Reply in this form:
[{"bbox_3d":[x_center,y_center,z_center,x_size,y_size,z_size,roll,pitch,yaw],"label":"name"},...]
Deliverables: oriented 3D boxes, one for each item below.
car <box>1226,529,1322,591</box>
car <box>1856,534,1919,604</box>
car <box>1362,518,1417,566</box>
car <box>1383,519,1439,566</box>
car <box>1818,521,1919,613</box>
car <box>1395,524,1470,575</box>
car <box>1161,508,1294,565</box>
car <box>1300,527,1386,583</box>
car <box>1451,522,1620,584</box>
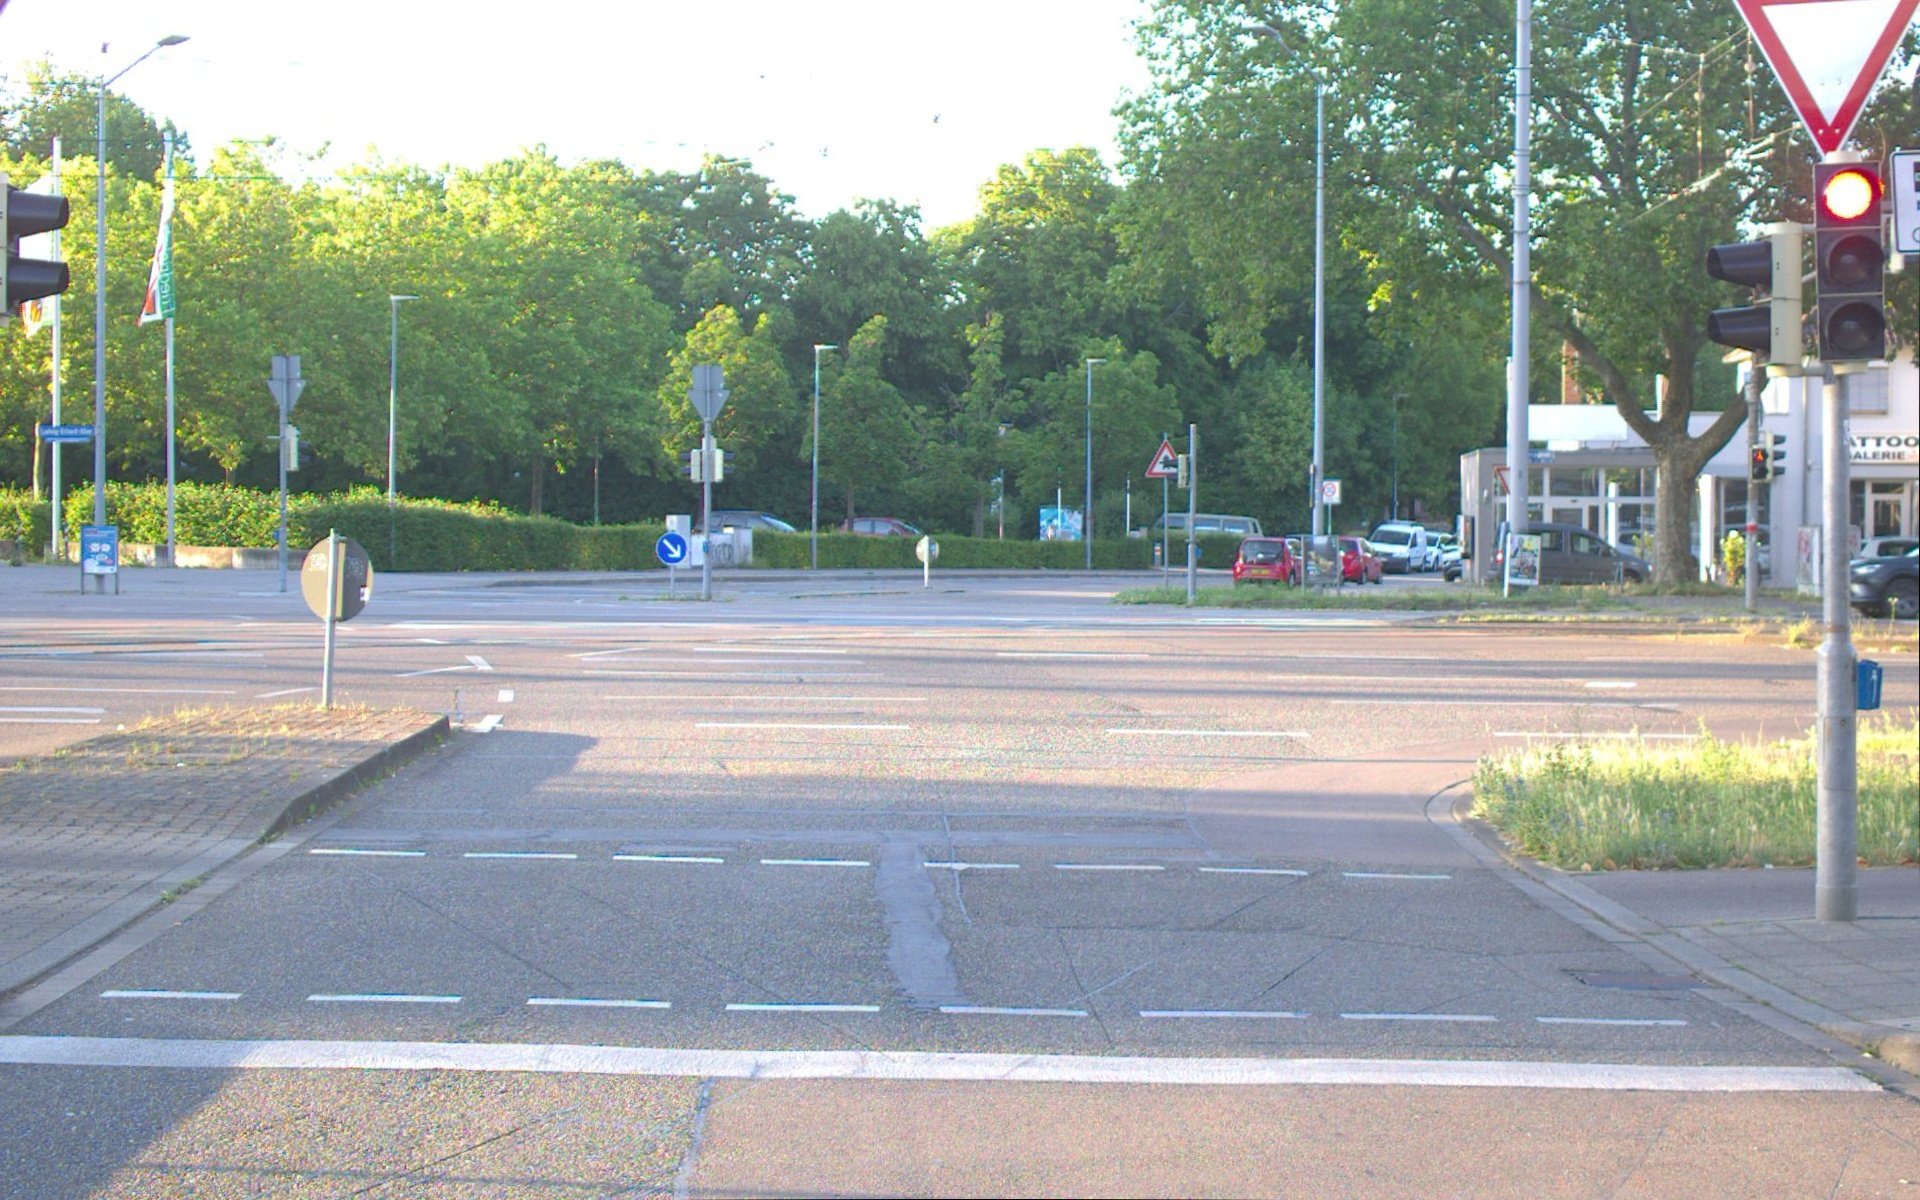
[{"bbox_3d":[8.765,-1.099,95.681,1.995,1.656,3.997,1,0,15],"label":"car"},{"bbox_3d":[20.814,-0.638,72.117,3.741,1.435,1.663,1,0,9],"label":"car"},{"bbox_3d":[16.414,-2.190,131.184,1.864,1.788,3.998,1,0,10],"label":"car"},{"bbox_3d":[17.869,-2.253,136.078,1.864,1.788,3.998,1,0,12],"label":"car"},{"bbox_3d":[16.515,-0.527,56.627,4.331,1.491,1.804,0,0,1],"label":"car"},{"bbox_3d":[15.909,-1.677,115.593,1.995,1.656,3.997,1,0,15],"label":"car"},{"bbox_3d":[9.770,-2.319,125.869,4.774,1.999,2.000,0,0,2],"label":"car"},{"bbox_3d":[11.545,-1.338,103.368,1.995,1.656,3.997,1,0,15],"label":"car"},{"bbox_3d":[14.901,-1.216,89.163,4.220,1.547,1.999,1,0,7],"label":"car"}]
